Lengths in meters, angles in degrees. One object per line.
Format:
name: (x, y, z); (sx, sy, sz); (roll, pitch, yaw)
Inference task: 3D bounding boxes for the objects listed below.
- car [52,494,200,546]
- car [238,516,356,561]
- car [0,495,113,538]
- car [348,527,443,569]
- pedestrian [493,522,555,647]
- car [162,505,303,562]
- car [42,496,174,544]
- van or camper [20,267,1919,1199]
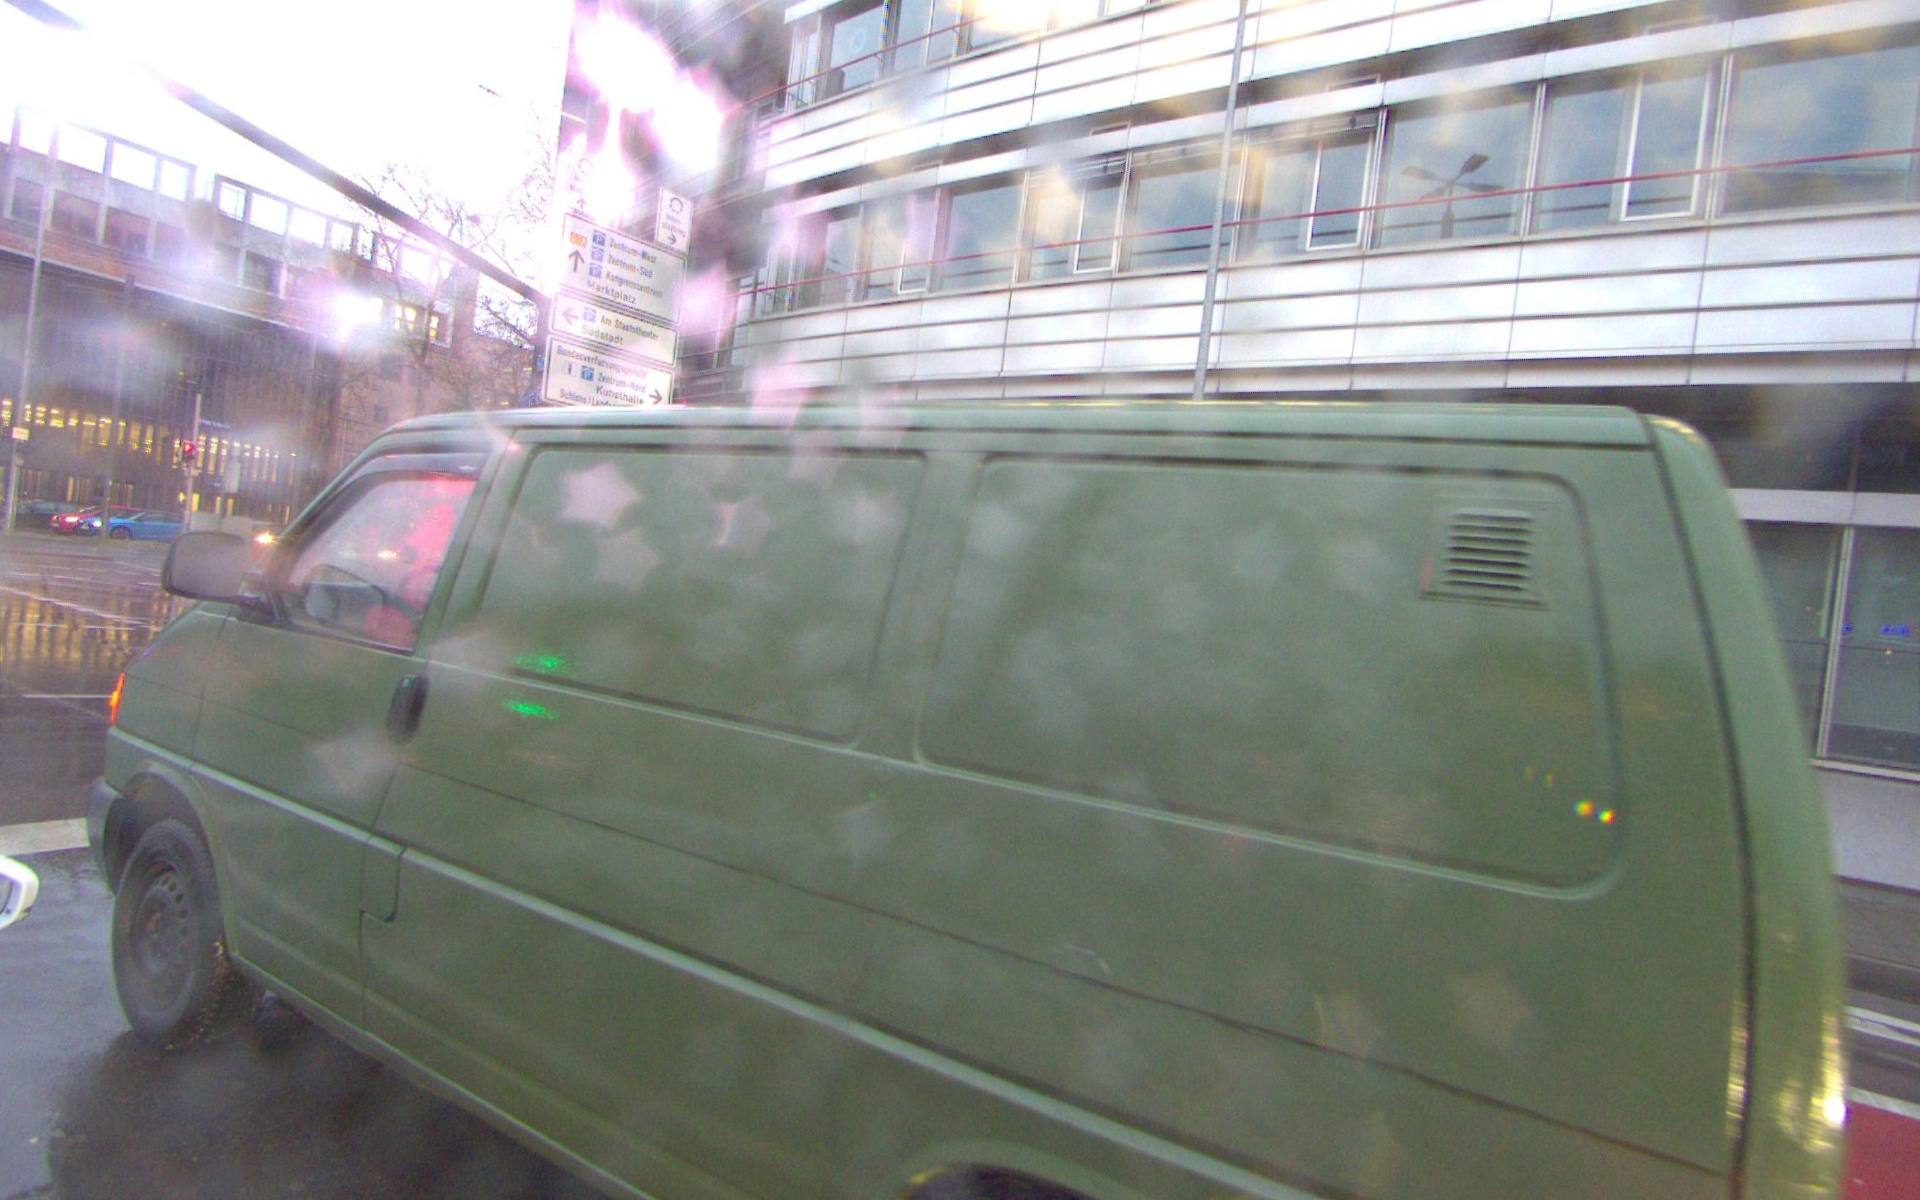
car: (-32.684, -3.107, 39.546); (1.814, 1.278, 3.997); (11, 1, 26)
car: (-29.881, -2.736, 45.468); (1.814, 1.304, 3.997); (11, 1, 26)
car: (-39.454, -3.647, 43.370); (1.965, 1.326, 3.994); (7, 0, 28)
car: (-30.415, -2.783, 54.294); (1.814, 1.523, 3.997); (11, 1, 26)
pedestrian: (-7.990, -0.278, 18.443); (0.609, 2.210, 0.576); (6, 0, 26)
car: (-28.548, -2.580, 39.605); (1.814, 1.523, 3.997); (11, 1, 26)
car: (-35.727, -3.328, 42.263); (1.814, 1.278, 3.729); (11, 1, 26)
van or camper: (-0.574, 0.520, 2.798); (4.345, 1.929, 1.760); (7, -1, 32)
